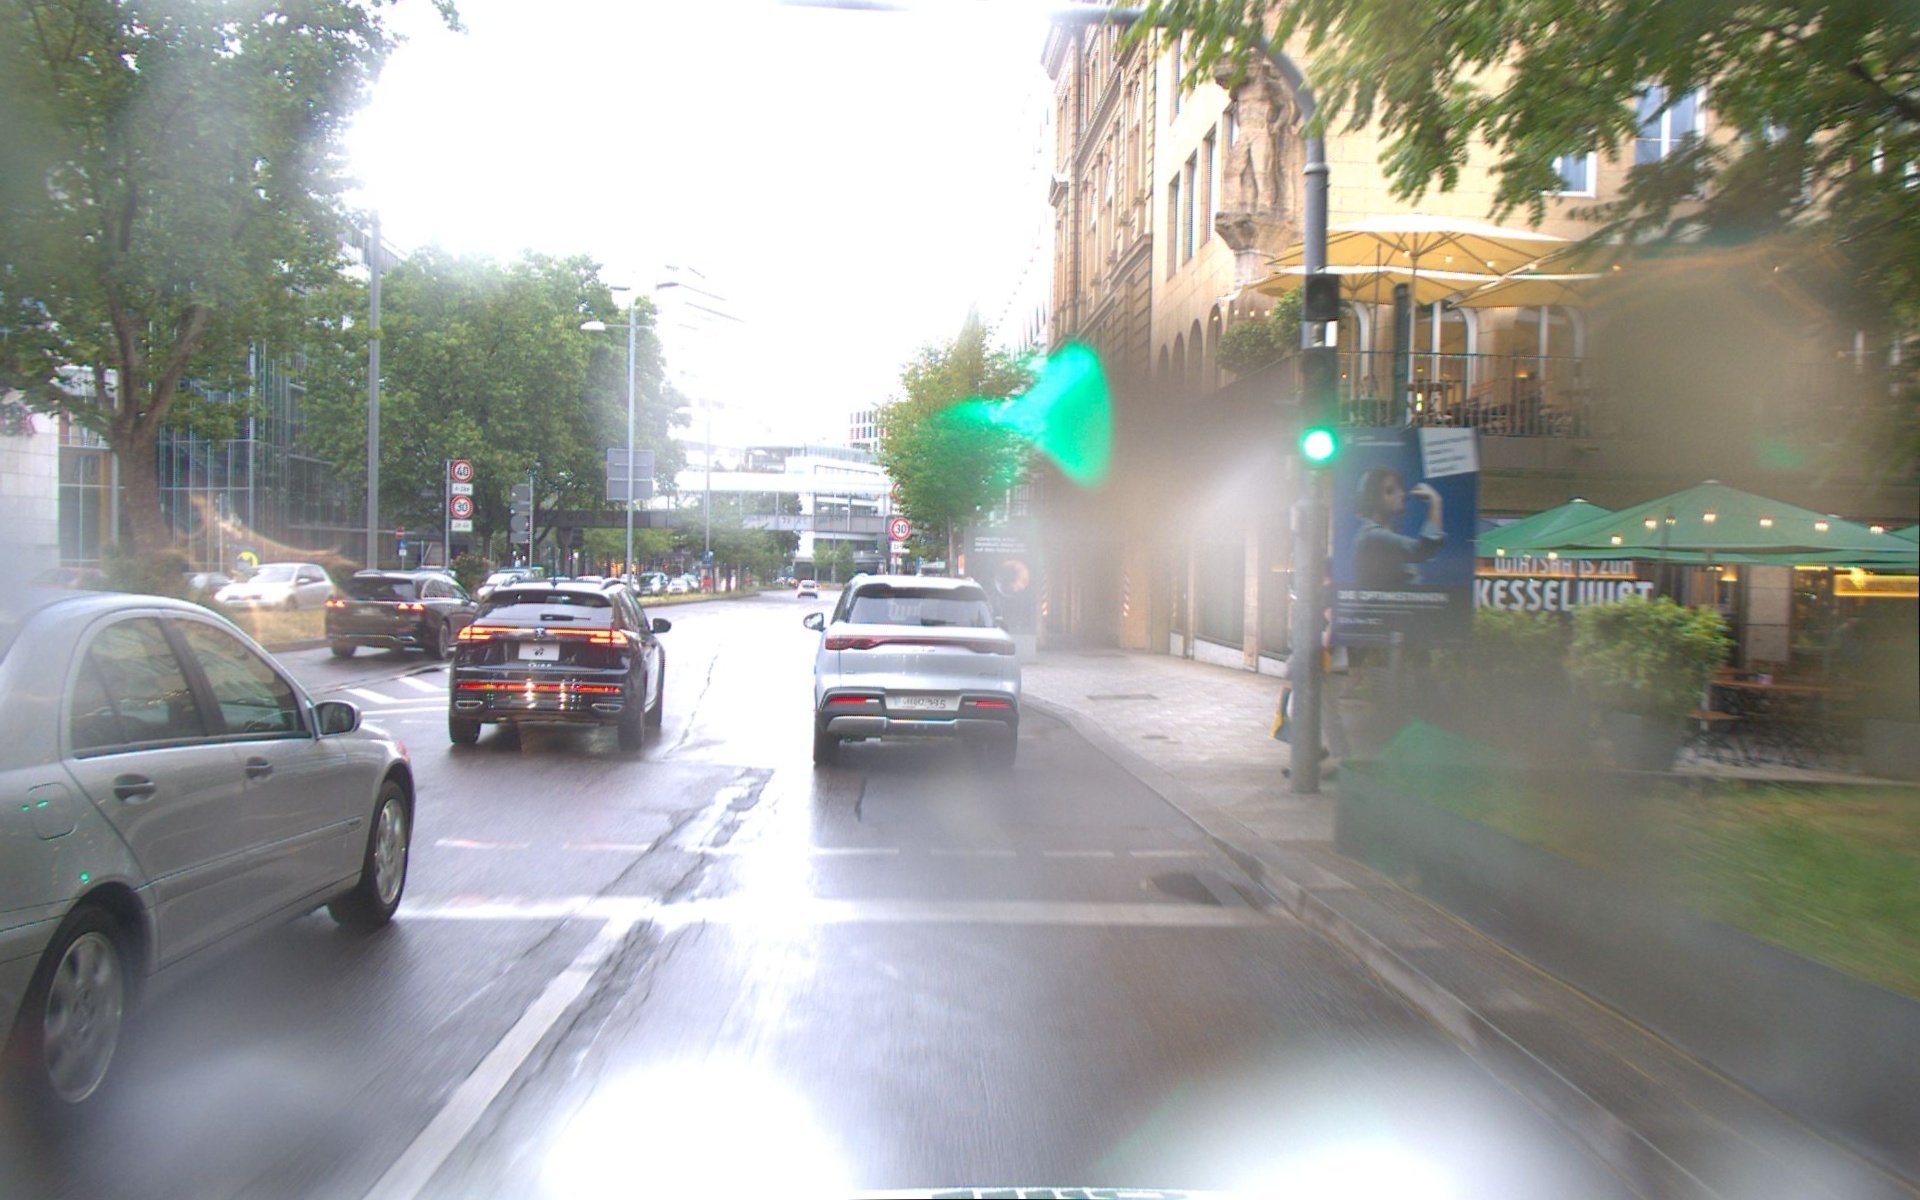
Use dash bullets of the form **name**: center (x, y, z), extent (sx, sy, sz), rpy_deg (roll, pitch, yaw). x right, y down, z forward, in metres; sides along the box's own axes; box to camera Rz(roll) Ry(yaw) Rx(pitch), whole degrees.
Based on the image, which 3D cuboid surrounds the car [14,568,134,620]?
- **car**: center (-25.777, -0.170, 48.228), extent (1.559, 1.440, 3.401), rpy_deg (1, 0, 2)

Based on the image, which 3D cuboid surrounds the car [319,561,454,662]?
- **car**: center (-9.975, 0.162, 29.014), extent (1.780, 1.606, 3.987), rpy_deg (2, 1, -13)

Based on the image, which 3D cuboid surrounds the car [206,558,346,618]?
- **car**: center (-16.948, -0.291, 41.213), extent (1.711, 1.388, 4.131), rpy_deg (1, 0, 0)

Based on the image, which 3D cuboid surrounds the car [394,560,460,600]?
- **car**: center (-23.387, -0.842, 72.750), extent (1.795, 1.668, 4.088), rpy_deg (1, 0, -4)

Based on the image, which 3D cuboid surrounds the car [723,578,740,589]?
- **car**: center (-29.143, -2.081, 211.207), extent (1.564, 1.383, 4.116), rpy_deg (1, 0, -1)

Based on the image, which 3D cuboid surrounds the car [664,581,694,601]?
- **car**: center (-20.736, -0.659, 122.217), extent (1.564, 1.383, 4.116), rpy_deg (1, 0, -1)

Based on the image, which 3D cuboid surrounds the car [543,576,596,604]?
- **car**: center (-20.743, -0.517, 88.035), extent (1.691, 1.457, 4.395), rpy_deg (1, 0, 0)

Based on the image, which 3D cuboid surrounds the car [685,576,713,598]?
- **car**: center (-21.693, -1.061, 137.708), extent (1.836, 1.709, 4.678), rpy_deg (1, 0, -3)

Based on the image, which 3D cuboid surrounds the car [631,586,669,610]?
- **car**: center (-19.295, -0.129, 103.044), extent (1.666, 1.462, 4.580), rpy_deg (1, 0, -3)

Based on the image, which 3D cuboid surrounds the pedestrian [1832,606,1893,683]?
- **pedestrian**: center (13.034, 0.635, 23.907), extent (0.543, 1.074, 0.545), rpy_deg (2, 1, -1)

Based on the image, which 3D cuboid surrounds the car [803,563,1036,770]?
- **car**: center (-0.445, 0.543, 15.442), extent (1.863, 1.650, 3.997), rpy_deg (1, 0, -4)

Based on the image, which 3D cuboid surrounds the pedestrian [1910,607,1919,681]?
- **pedestrian**: center (14.252, 0.657, 23.988), extent (0.543, 1.074, 0.652), rpy_deg (2, 1, -1)

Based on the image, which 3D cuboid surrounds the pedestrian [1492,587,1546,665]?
- **pedestrian**: center (7.972, 0.367, 23.584), extent (0.543, 1.074, 0.545), rpy_deg (2, 1, -1)

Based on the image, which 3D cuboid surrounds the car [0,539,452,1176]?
- **car**: center (-3.112, 0.566, 5.397), extent (1.639, 1.505, 4.359), rpy_deg (2, 0, -2)

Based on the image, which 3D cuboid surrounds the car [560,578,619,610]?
- **car**: center (-17.751, -0.273, 79.381), extent (1.822, 1.467, 4.313), rpy_deg (1, 0, 0)

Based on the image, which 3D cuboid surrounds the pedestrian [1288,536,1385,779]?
- **pedestrian**: center (2.958, 0.443, 13.028), extent (0.619, 1.867, 0.563), rpy_deg (1, 0, 1)

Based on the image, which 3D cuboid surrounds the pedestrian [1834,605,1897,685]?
- **pedestrian**: center (12.686, 0.627, 23.186), extent (0.543, 1.074, 0.545), rpy_deg (2, 1, -1)

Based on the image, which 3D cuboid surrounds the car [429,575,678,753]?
- **car**: center (-3.771, 0.546, 15.973), extent (1.739, 1.482, 3.995), rpy_deg (1, 0, -6)

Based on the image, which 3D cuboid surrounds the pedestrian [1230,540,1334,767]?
- **pedestrian**: center (2.723, 0.440, 14.014), extent (0.583, 1.867, 0.623), rpy_deg (1, 0, -30)

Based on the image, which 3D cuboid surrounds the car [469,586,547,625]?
- **car**: center (-16.998, 0.198, 62.376), extent (1.711, 1.388, 3.944), rpy_deg (1, 0, 2)

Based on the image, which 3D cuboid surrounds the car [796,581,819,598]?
- **car**: center (-13.235, -0.932, 143.754), extent (1.620, 1.365, 3.999), rpy_deg (2, 1, -1)
